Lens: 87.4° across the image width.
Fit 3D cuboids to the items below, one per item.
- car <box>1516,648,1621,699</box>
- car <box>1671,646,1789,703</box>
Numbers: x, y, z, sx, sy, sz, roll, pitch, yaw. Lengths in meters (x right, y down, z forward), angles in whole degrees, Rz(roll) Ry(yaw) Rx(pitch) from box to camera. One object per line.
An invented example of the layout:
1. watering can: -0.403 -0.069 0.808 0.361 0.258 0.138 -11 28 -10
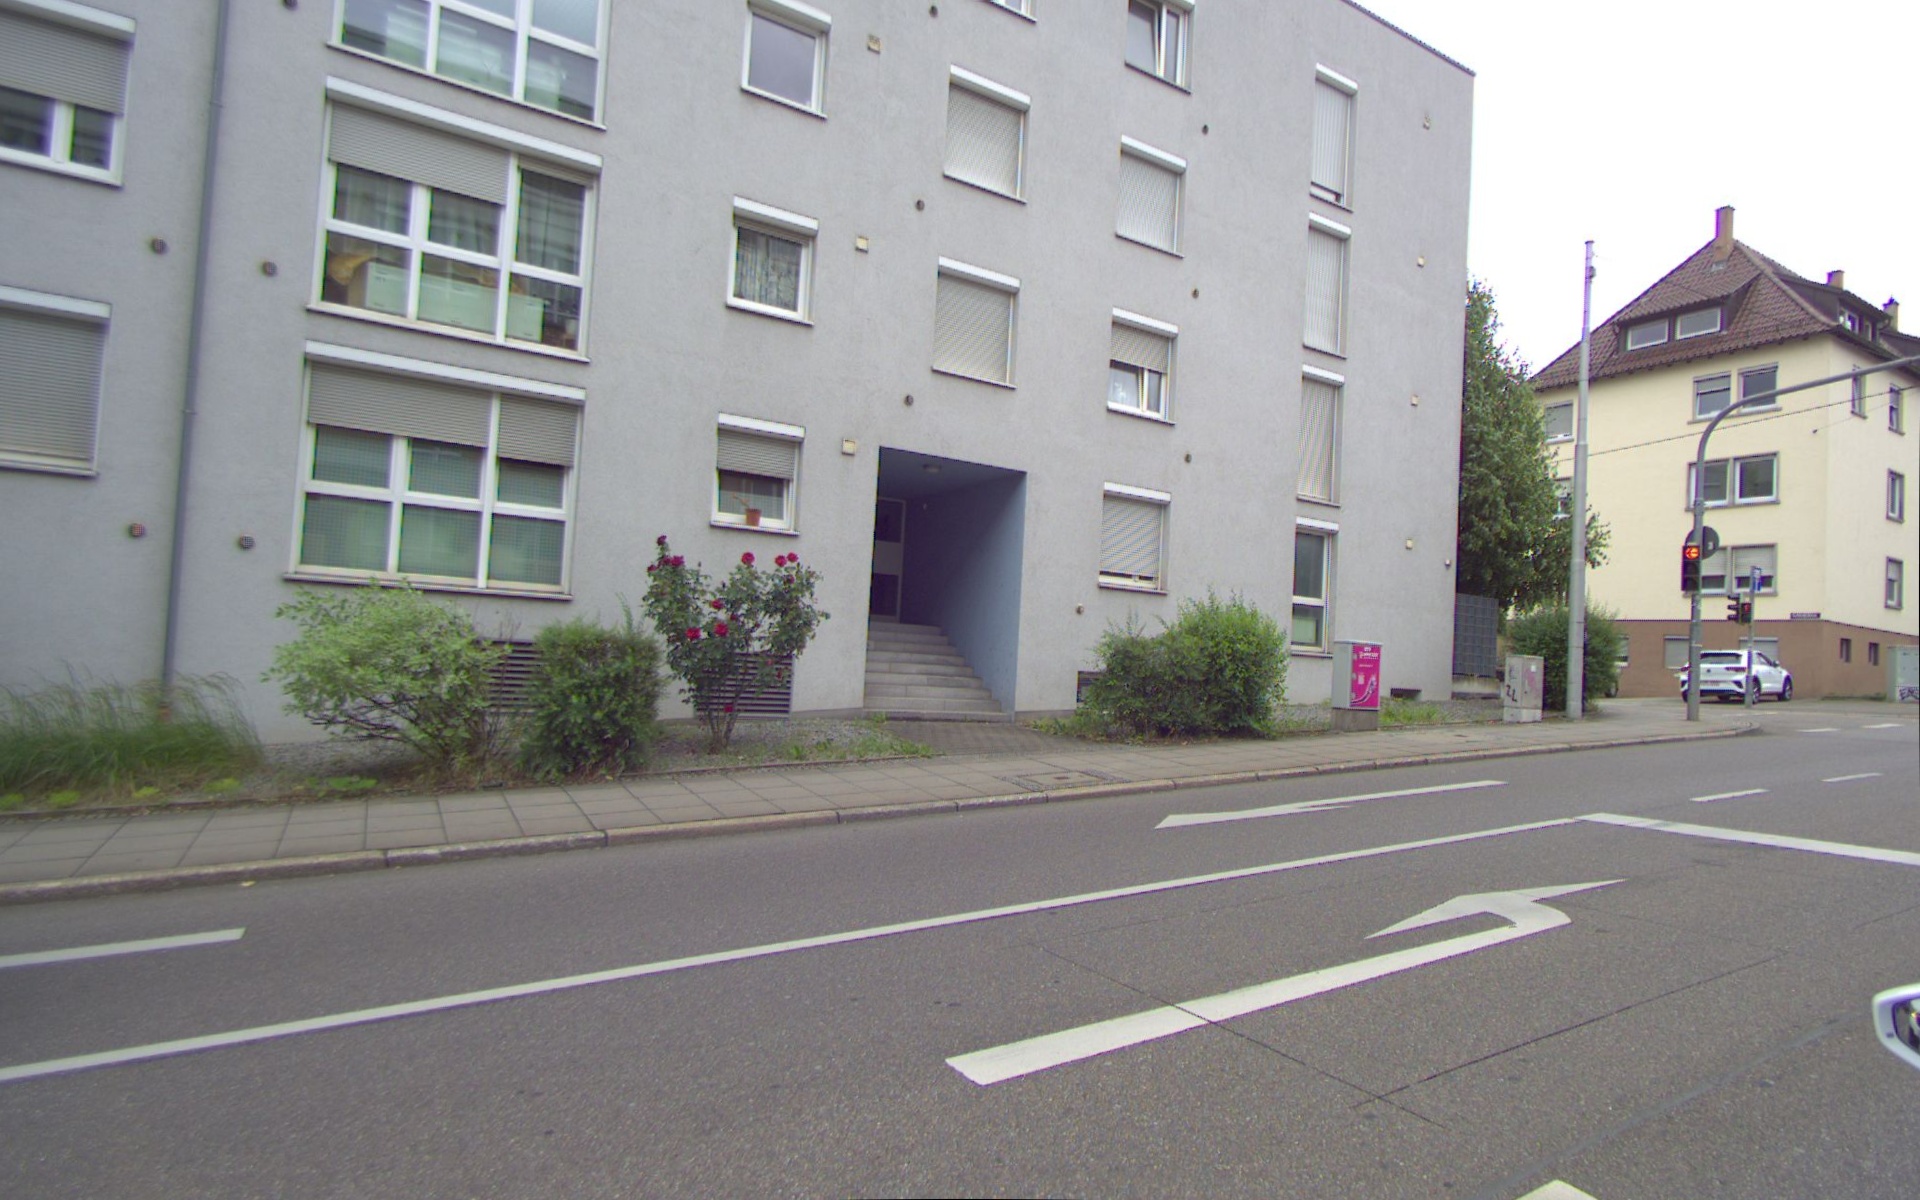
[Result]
1. car: 20.932 2.485 34.537 3.727 1.629 1.681 1 -4 -34
2. car: 22.971 2.197 29.951 3.727 1.575 1.681 1 -4 -34
